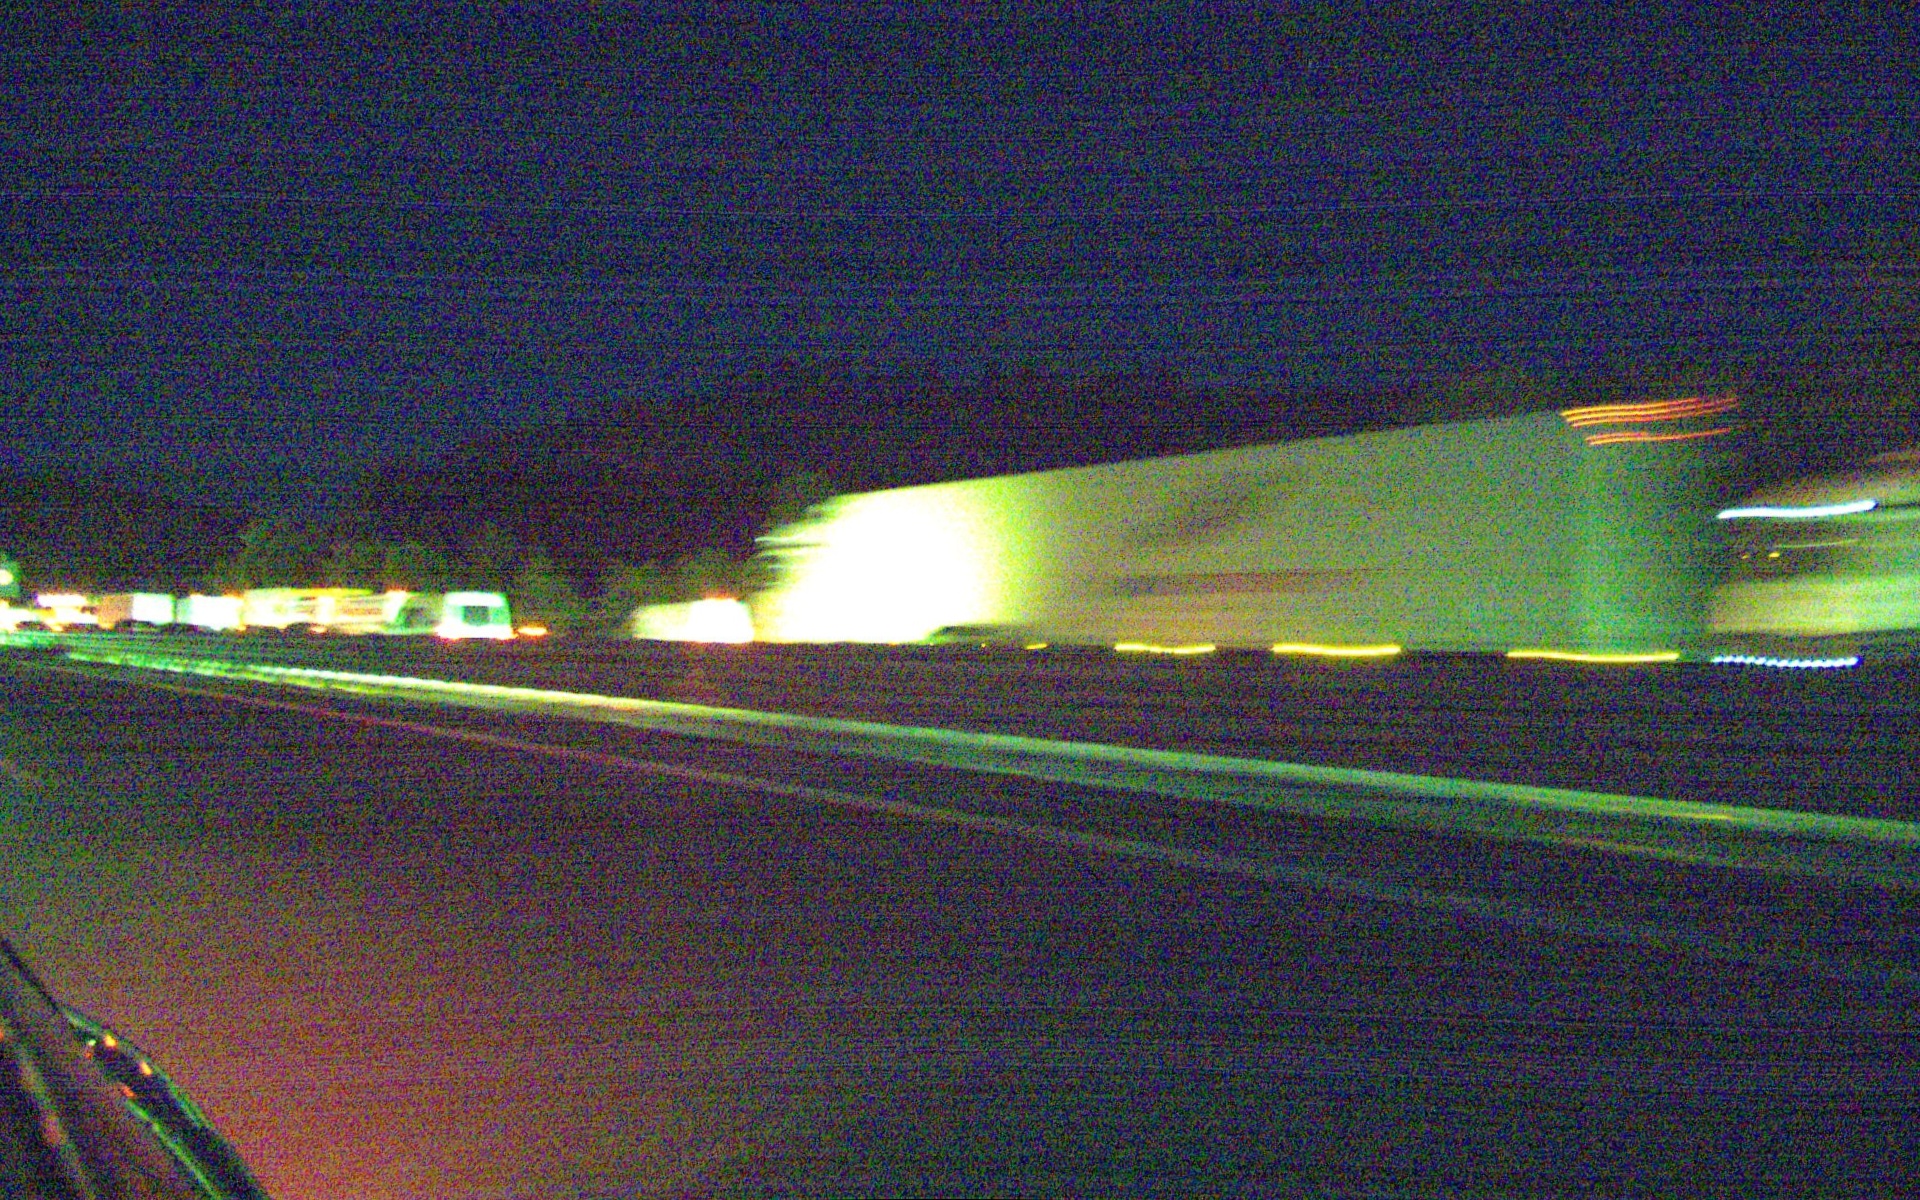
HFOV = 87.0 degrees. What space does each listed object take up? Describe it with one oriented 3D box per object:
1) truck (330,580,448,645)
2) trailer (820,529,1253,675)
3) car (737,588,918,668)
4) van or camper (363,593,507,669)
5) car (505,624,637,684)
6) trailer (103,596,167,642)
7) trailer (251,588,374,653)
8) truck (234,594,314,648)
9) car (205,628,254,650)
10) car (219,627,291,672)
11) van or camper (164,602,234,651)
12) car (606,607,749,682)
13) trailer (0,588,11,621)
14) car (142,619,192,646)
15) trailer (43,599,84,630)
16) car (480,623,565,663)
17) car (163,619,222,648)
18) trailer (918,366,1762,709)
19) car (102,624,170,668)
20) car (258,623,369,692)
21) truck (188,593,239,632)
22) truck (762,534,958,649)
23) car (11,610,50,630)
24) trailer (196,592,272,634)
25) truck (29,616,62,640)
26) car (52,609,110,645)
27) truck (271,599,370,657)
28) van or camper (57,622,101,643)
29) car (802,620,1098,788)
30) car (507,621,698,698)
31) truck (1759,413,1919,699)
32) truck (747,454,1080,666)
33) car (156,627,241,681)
[{"bbox_3d":[-28.450,0.601,50.268,7.398,3.008,2.734,0,-1,41],"label":"truck"},{"bbox_3d":[1.531,0.124,29.463,13.428,3.468,2.929,-1,-1,41],"label":"trailer"},{"bbox_3d":[-3.786,0.696,28.212,5.239,2.029,1.974,0,1,40],"label":"car"},{"bbox_3d":[-20.048,1.146,38.401,7.598,2.652,2.063,-1,-2,40],"label":"van or camper"},{"bbox_3d":[-11.475,1.529,29.729,4.645,1.497,1.711,0,1,42],"label":"car"},{"bbox_3d":[-69.086,1.538,84.665,11.176,3.655,2.368,-1,-1,42],"label":"trailer"},{"bbox_3d":[-43.081,1.328,67.066,13.122,3.701,2.855,-1,5,40],"label":"trailer"},{"bbox_3d":[-49.017,1.515,72.196,7.259,3.703,2.853,-1,-2,41],"label":"truck"},{"bbox_3d":[-46.819,2.481,64.851,3.998,1.364,1.697,-1,-2,41],"label":"car"},{"bbox_3d":[-35.417,2.434,50.831,3.996,2.029,1.974,0,1,40],"label":"car"},{"bbox_3d":[-54.034,1.865,71.788,7.389,3.297,2.407,-1,-2,41],"label":"van or camper"},{"bbox_3d":[-11.374,1.720,40.449,6.352,2.739,2.291,-1,0,40],"label":"car"},{"bbox_3d":[-125.377,0.582,131.184,3.053,4.119,12.466,-1,1,-42],"label":"trailer"},{"bbox_3d":[-48.872,1.976,62.340,3.976,1.497,1.681,0,1,41],"label":"car"},{"bbox_3d":[-98.356,1.545,110.958,9.005,3.200,2.577,0,1,44],"label":"trailer"},{"bbox_3d":[-20.729,1.980,47.914,4.309,1.658,1.974,0,1,40],"label":"car"},{"bbox_3d":[-43.236,1.861,57.008,3.972,1.497,1.682,0,1,38],"label":"car"},{"bbox_3d":[4.817,-0.704,15.919,12.207,3.699,2.856,0,1,40],"label":"trailer"},{"bbox_3d":[-42.572,2.343,52.271,3.996,2.029,1.974,0,1,40],"label":"car"},{"bbox_3d":[-21.543,1.835,33.684,3.996,2.029,1.974,0,1,40],"label":"car"},{"bbox_3d":[-63.480,1.064,86.052,4.903,3.235,2.369,-1,-1,40],"label":"truck"},{"bbox_3d":[-3.418,-0.232,33.738,6.357,3.468,2.929,-1,-1,41],"label":"truck"},{"bbox_3d":[-63.399,1.360,69.007,3.998,1.364,1.554,-1,-2,41],"label":"car"},{"bbox_3d":[-59.186,1.036,82.389,11.172,3.235,2.369,-1,-1,40],"label":"trailer"},{"bbox_3d":[-115.750,3.530,128.096,8.174,2.982,2.528,-1,-2,44],"label":"truck"},{"bbox_3d":[-52.557,1.565,60.492,3.996,2.029,1.974,0,1,40],"label":"car"},{"bbox_3d":[-35.666,1.495,56.327,7.448,3.008,2.529,0,-1,41],"label":"truck"},{"bbox_3d":[-90.709,3.342,104.191,7.635,2.029,2.165,-1,-2,40],"label":"van or camper"},{"bbox_3d":[-0.209,1.365,14.905,3.993,2.029,1.976,0,1,37],"label":"car"},{"bbox_3d":[-7.691,1.195,21.647,3.993,1.369,1.976,0,1,37],"label":"car"},{"bbox_3d":[14.397,-0.602,13.211,6.047,3.701,2.844,-2,-1,41],"label":"truck"},{"bbox_3d":[-1.146,-0.729,20.951,6.775,3.701,2.845,0,1,40],"label":"truck"},{"bbox_3d":[-32.103,2.223,42.645,3.996,2.029,1.974,0,1,40],"label":"car"}]
